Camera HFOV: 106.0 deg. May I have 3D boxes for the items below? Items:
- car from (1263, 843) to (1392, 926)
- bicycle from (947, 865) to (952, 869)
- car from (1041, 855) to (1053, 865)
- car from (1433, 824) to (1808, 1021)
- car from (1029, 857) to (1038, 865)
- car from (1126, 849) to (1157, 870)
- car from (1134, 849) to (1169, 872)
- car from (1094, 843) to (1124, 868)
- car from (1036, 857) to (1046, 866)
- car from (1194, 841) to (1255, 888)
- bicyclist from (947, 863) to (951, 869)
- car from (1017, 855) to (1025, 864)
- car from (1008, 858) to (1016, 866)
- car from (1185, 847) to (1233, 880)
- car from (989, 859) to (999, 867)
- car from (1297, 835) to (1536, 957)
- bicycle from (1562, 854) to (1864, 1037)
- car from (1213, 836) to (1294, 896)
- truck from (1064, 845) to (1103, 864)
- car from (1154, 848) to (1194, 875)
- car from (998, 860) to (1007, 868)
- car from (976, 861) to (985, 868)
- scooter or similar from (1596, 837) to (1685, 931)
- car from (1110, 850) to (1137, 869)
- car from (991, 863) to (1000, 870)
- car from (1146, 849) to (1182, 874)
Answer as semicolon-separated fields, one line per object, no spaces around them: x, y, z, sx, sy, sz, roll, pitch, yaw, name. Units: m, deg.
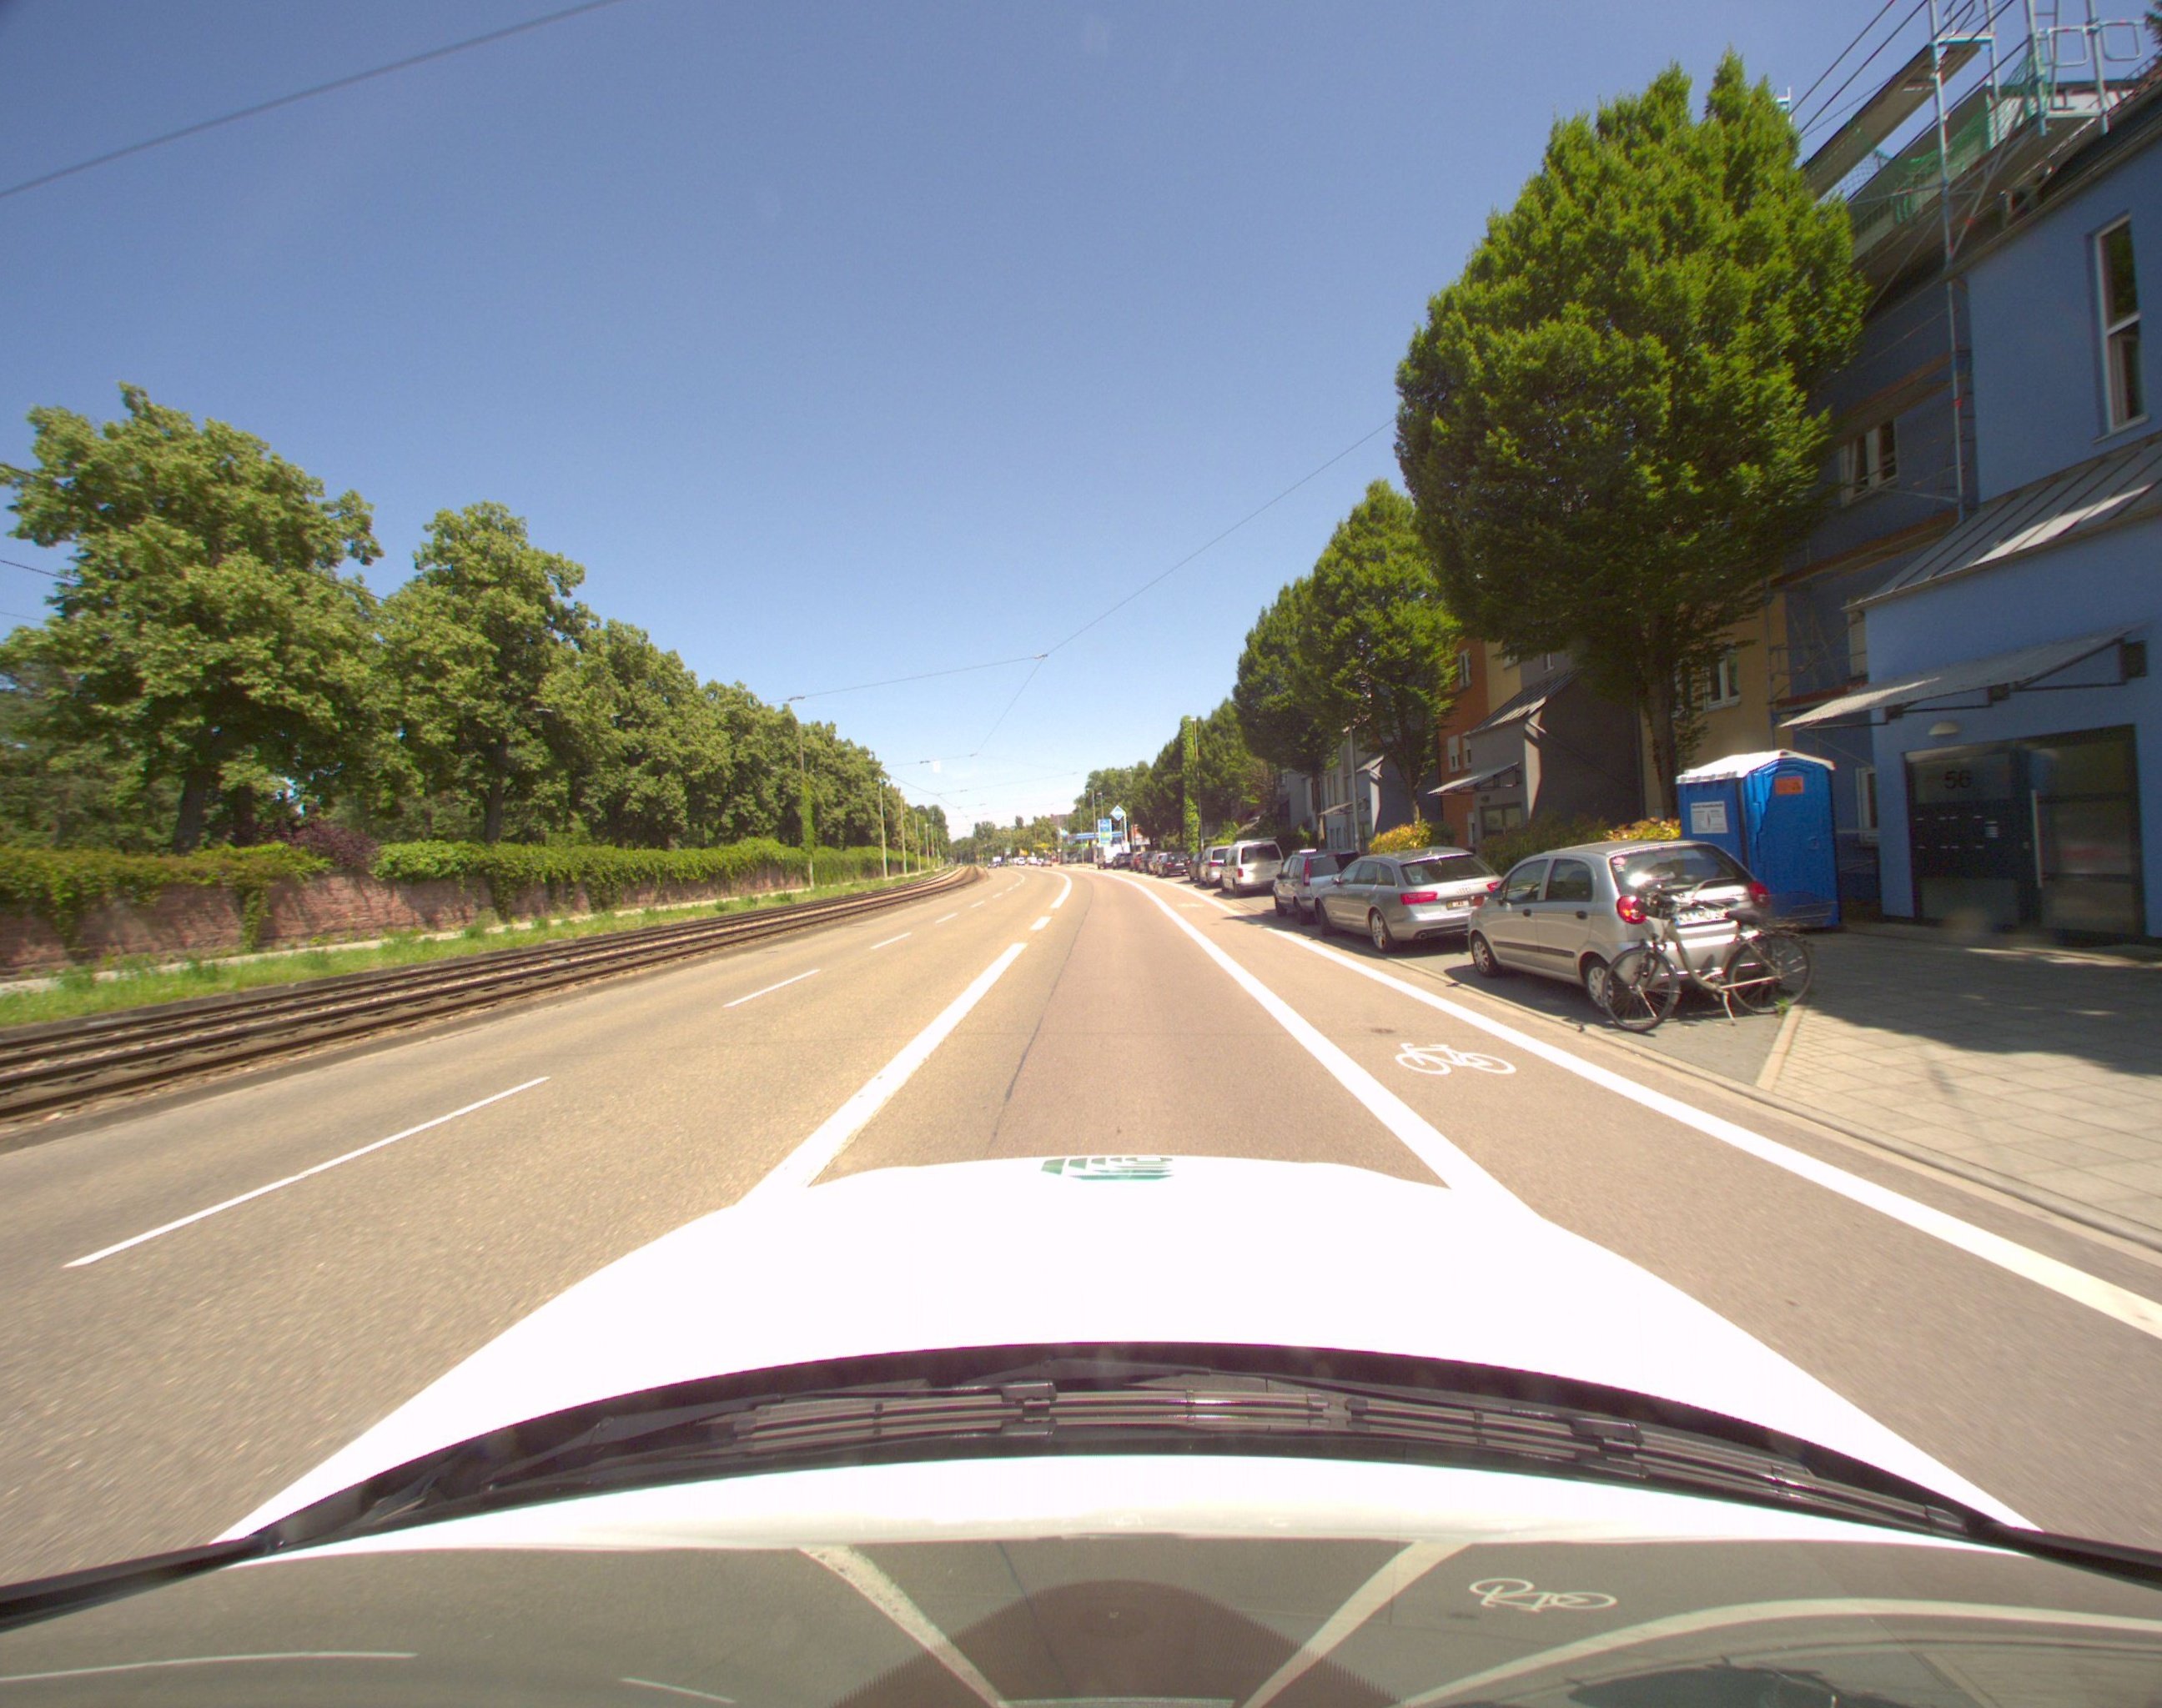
5.518;0.610;18.822;1.833;1.529;4.220;-5;0;4;car
-37.730;3.803;233.455;0.679;1.054;2.010;-8;-1;2;bicycle
-6.112;1.164;147.146;1.754;1.630;4.313;-5;0;-7;car
5.366;0.564;8.774;1.513;1.529;3.818;-5;0;2;car
-11.690;1.709;199.225;1.754;1.630;4.313;-5;0;-7;car
5.086;0.487;68.948;1.705;1.562;4.315;-5;0;-6;car
5.395;0.467;63.020;1.706;1.562;4.313;-5;0;-7;car
3.030;0.201;89.105;2.000;2.456;6.092;-5;0;-8;car
-8.674;1.621;175.242;1.753;1.630;4.315;-5;0;-5;car
6.071;0.396;34.947;1.833;1.694;4.781;-5;0;2;car
-37.780;3.441;233.467;0.679;1.574;0.796;-8;-1;2;bicyclist
-14.490;1.321;196.581;1.754;1.874;4.313;-5;0;-7;car
-16.662;1.941;195.180;1.753;1.630;4.315;-5;0;-5;car
6.254;0.424;40.312;1.579;1.423;4.179;-5;0;-1;car
-17.636;1.781;165.136;1.754;1.509;4.313;-5;0;-7;car
5.321;0.570;13.786;1.835;1.529;4.964;-5;0;-1;car
5.152;0.725;6.738;1.765;1.228;0.685;-8;-1;6;bicycle
5.994;0.390;28.760;1.834;1.793;4.354;-5;0;1;car
0.482;0.139;173.164;7.945;3.602;2.661;-3;0;-2;truck
5.865;0.456;51.820;1.702;1.492;5.034;-5;0;-2;car
-17.830;2.316;185.400;1.754;1.630;4.313;-5;0;-7;car
-25.891;2.657;209.227;1.757;1.630;4.305;-5;0;-12;car
8.099;0.412;11.848;0.382;1.280;1.339;-2;0;2;scooter or similar
4.055;0.507;78.955;1.754;1.630;4.313;-5;0;-7;car
-22.373;3.165;212.409;1.757;1.630;4.305;-5;0;-12;car
5.790;0.504;57.358;1.703;1.492;4.726;-5;0;-3;car
